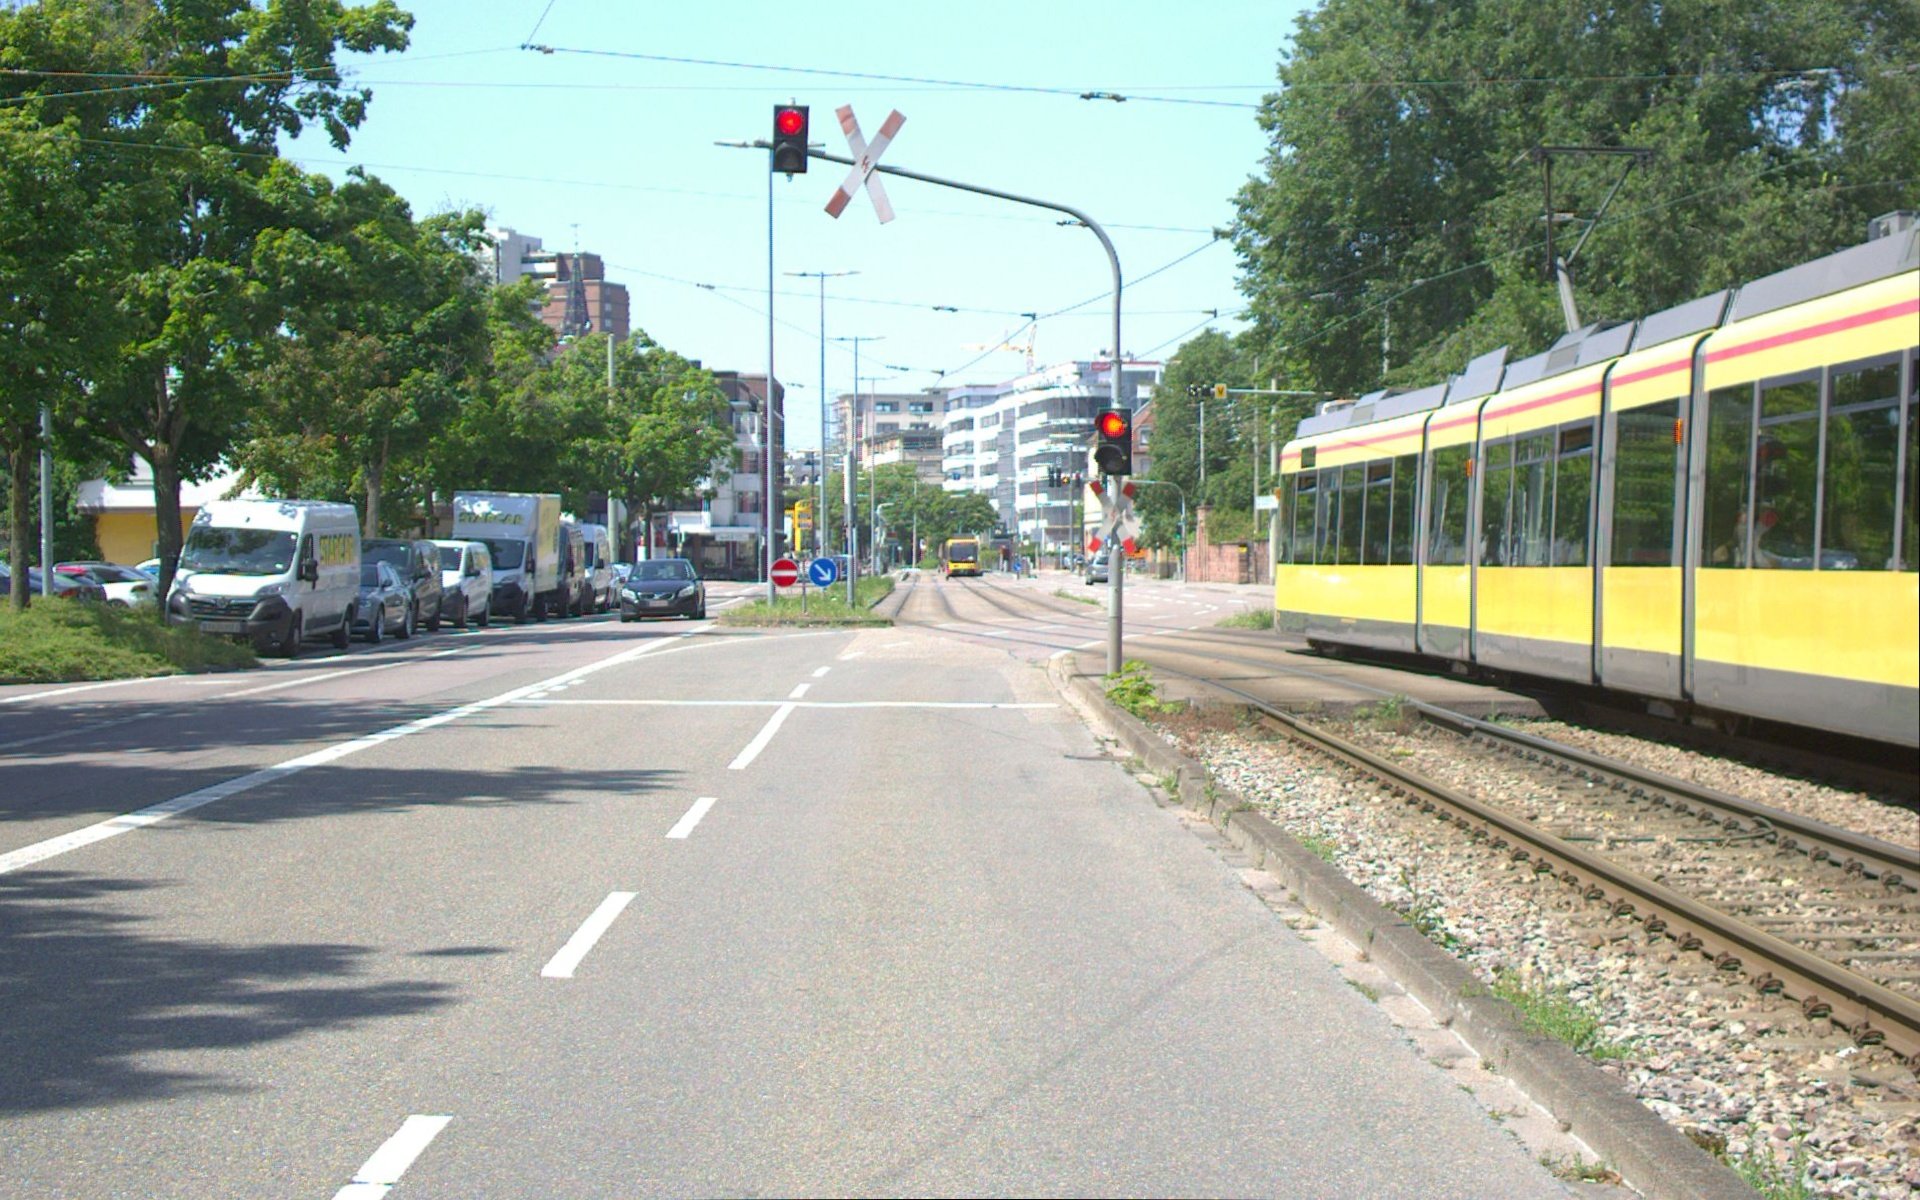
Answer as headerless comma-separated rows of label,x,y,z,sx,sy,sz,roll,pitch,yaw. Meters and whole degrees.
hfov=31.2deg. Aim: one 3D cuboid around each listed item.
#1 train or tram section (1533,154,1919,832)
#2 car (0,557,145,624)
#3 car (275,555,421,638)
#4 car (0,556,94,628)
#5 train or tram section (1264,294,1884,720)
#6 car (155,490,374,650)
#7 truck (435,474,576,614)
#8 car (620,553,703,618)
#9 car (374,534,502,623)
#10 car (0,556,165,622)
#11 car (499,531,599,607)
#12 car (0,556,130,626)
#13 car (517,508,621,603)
train or tram section,6.646,-0.614,20.971,2.943,3.679,18.390,1,1,-1
car,-22.074,-0.238,83.838,3.987,1.601,1.805,0,1,-1
car,-11.158,-0.093,62.921,1.868,1.432,4.343,0,1,0
car,-21.932,-0.192,78.227,3.987,1.601,1.805,0,1,-1
train or tram section,6.269,-1.003,40.230,2.943,3.679,20.286,1,1,-2
car,-11.382,-0.518,56.753,2.157,2.478,6.193,0,1,2
truck,-11.142,-1.377,84.868,2.157,3.199,7.082,3,1,2
car,-6.849,-0.358,79.184,1.677,1.393,4.006,-2,1,-2
car,-11.502,-0.505,76.118,2.061,1.891,4.871,0,1,0
car,-22.129,-0.285,86.194,3.987,1.601,1.805,0,1,-1
car,-10.990,-0.850,92.170,2.061,1.970,4.871,0,1,0
car,-21.892,-0.218,81.554,3.987,1.601,1.805,0,1,-1
car,-11.344,-1.310,100.164,2.157,2.630,5.611,2,1,2
